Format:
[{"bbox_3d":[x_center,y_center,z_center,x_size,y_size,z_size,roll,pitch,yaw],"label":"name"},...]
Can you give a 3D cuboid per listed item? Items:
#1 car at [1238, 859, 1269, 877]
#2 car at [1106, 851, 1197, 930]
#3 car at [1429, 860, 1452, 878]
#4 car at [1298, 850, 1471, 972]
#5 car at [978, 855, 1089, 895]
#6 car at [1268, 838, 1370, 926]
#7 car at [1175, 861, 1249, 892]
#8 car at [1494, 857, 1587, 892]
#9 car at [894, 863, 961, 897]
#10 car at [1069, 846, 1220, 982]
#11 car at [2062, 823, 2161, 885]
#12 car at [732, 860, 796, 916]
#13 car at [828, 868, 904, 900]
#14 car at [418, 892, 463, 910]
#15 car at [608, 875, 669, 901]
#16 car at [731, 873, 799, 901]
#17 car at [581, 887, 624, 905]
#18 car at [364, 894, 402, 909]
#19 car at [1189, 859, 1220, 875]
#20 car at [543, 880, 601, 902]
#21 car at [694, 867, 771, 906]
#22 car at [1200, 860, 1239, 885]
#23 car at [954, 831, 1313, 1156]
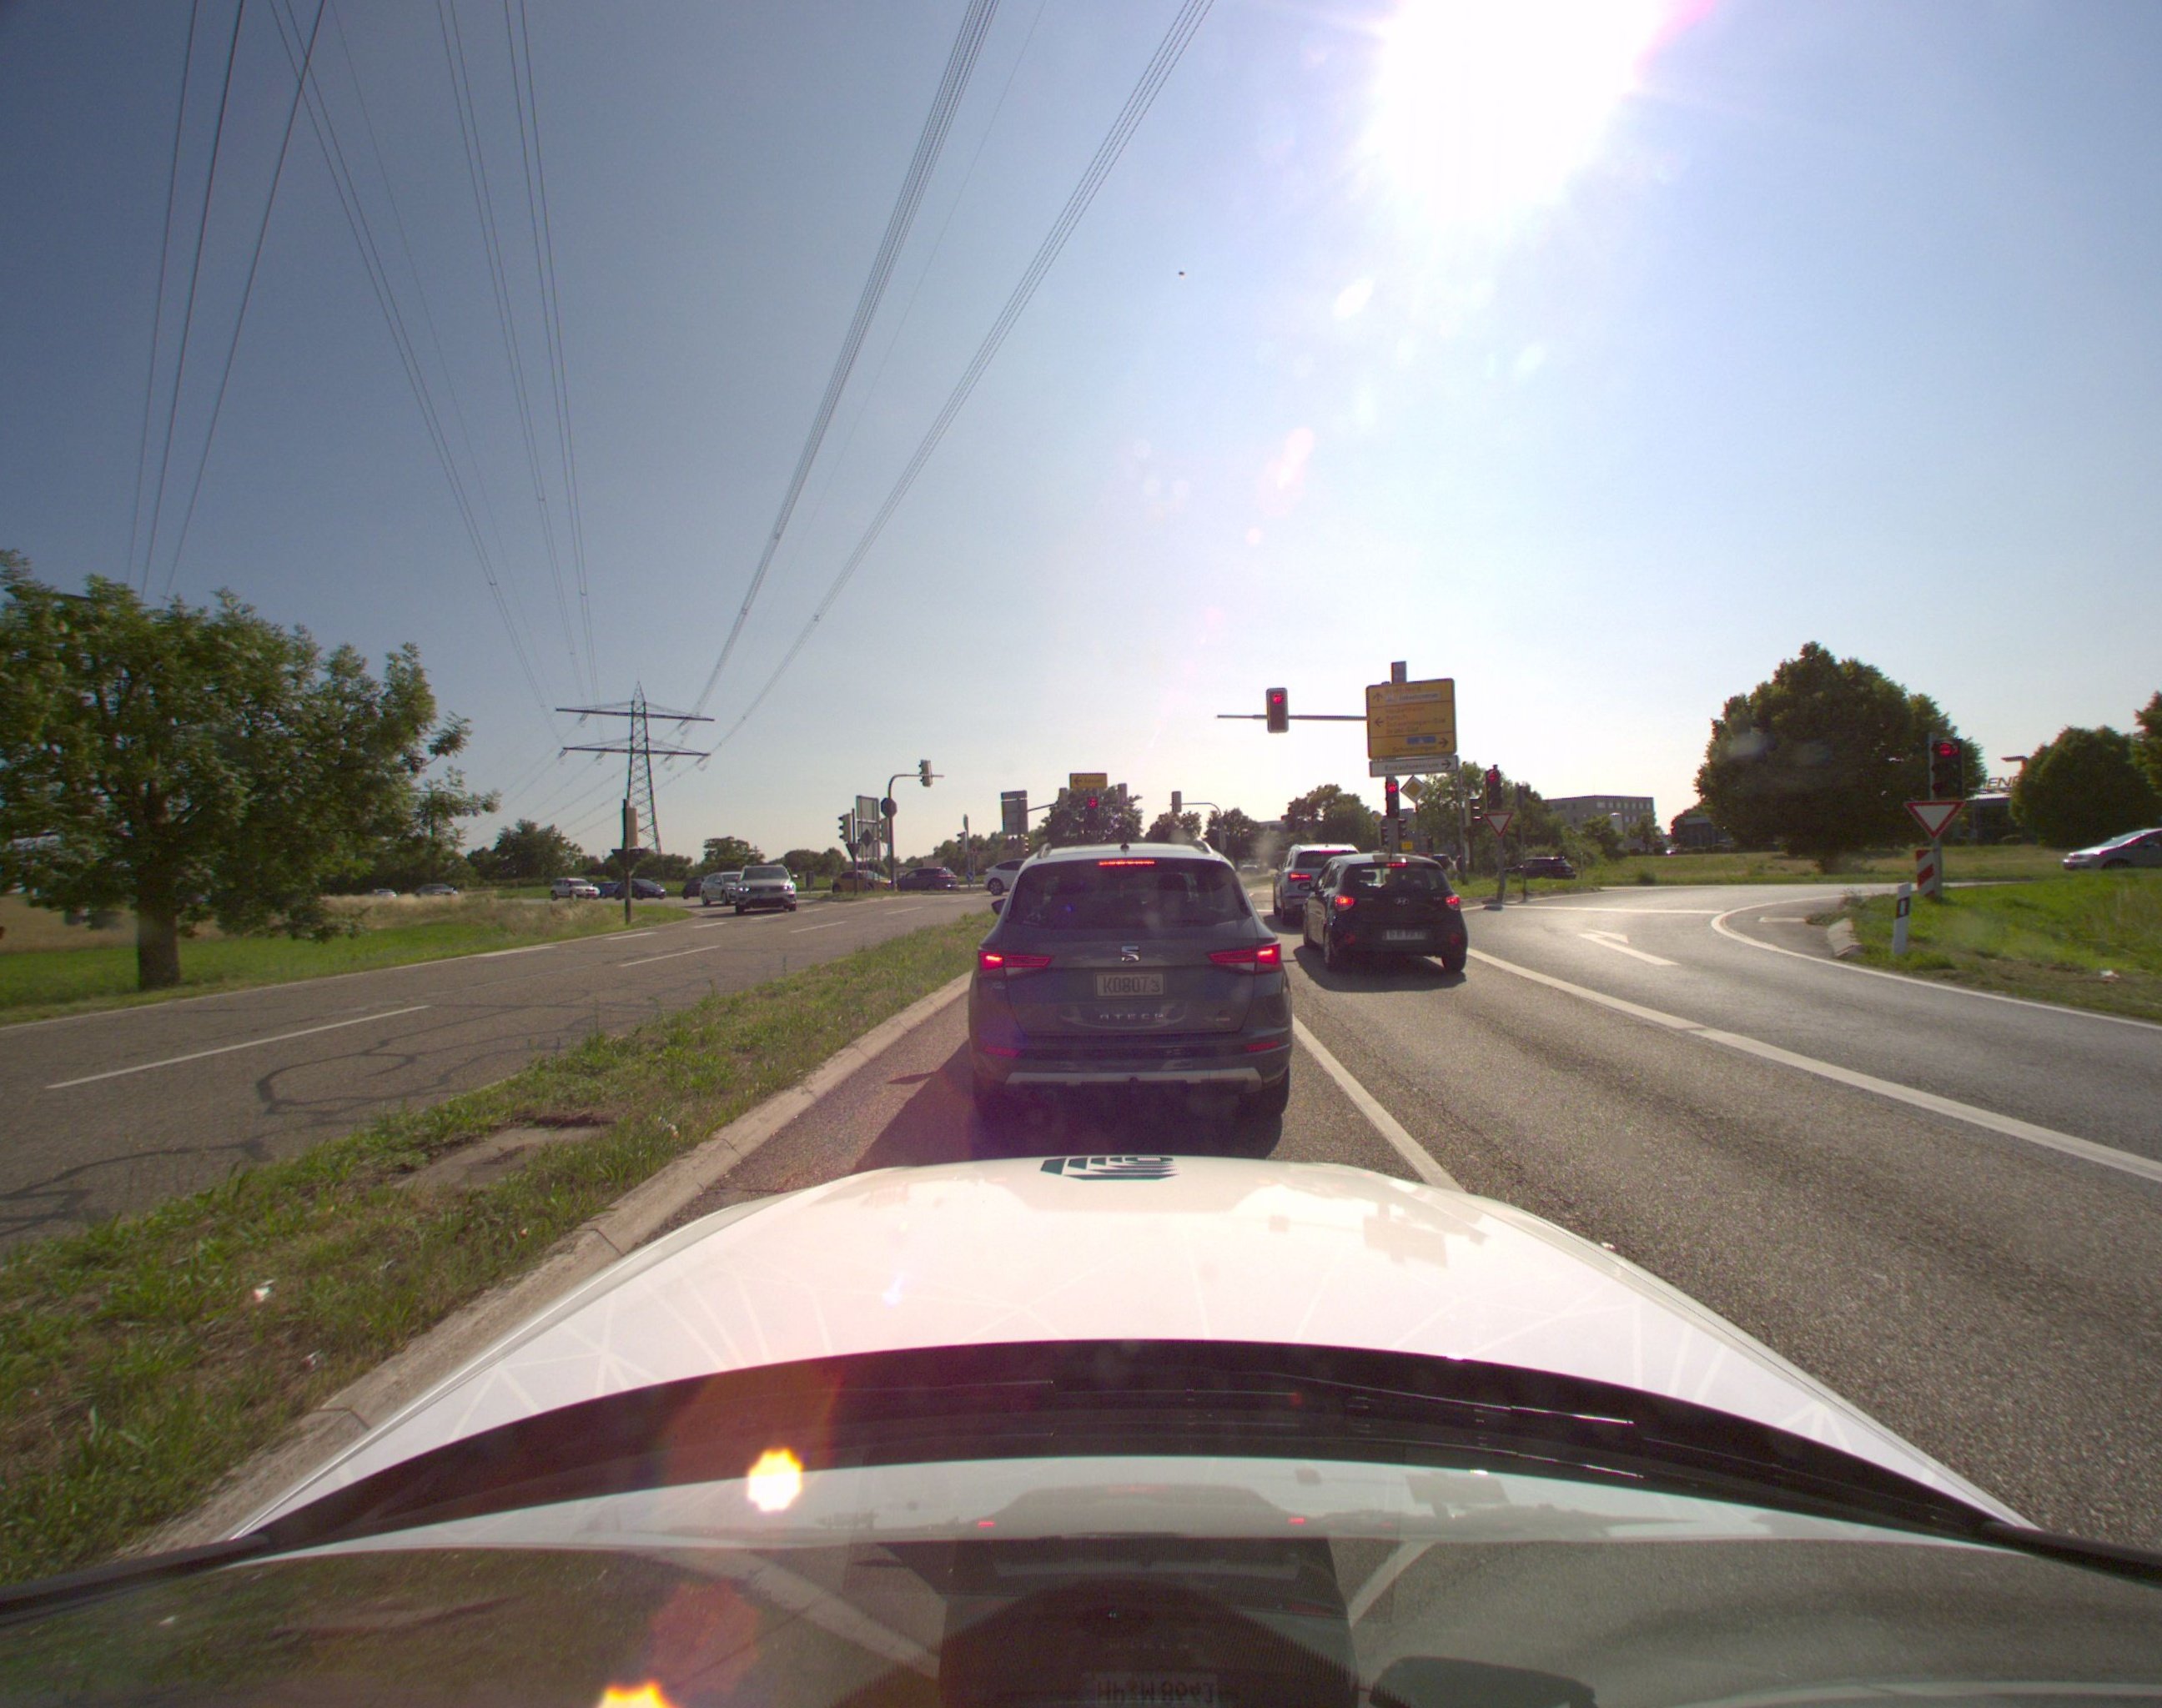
[{"bbox_3d":[17.027,1.378,80.419,1.859,1.673,3.793,0,-1,31],"label":"car"},{"bbox_3d":[1.570,0.714,17.353,1.732,1.484,3.631,0,-1,7],"label":"car"},{"bbox_3d":[35.832,1.465,81.082,1.859,1.673,3.792,0,-1,27],"label":"car"},{"bbox_3d":[4.045,0.683,11.357,1.623,1.448,3.303,-1,0,9],"label":"car"},{"bbox_3d":[-2.156,0.970,36.782,4.700,1.651,1.831,-2,-1,29],"label":"car"},{"bbox_3d":[5.013,0.559,17.569,1.623,1.677,3.758,-1,0,9],"label":"car"},{"bbox_3d":[6.798,1.142,42.264,3.500,1.516,1.471,0,-1,29],"label":"car"},{"bbox_3d":[24.192,1.088,43.019,1.831,1.695,3.849,-1,-1,-28],"label":"car"},{"bbox_3d":[-9.584,1.626,50.760,3.968,1.953,1.707,-2,-1,32],"label":"car"},{"bbox_3d":[0.819,0.707,11.245,1.735,1.569,3.626,0,-1,3],"label":"car"},{"bbox_3d":[34.857,0.009,26.286,3.703,1.953,1.706,0,-1,30],"label":"car"},{"bbox_3d":[-10.532,1.091,27.256,1.820,1.651,3.973,-2,-1,-20],"label":"car"},{"bbox_3d":[-12.127,1.700,45.979,3.949,1.651,1.831,-2,-1,29],"label":"car"},{"bbox_3d":[-56.901,4.148,72.325,3.948,1.486,1.832,0,-1,32],"label":"car"},{"bbox_3d":[-30.738,2.354,56.565,3.949,1.651,1.831,-2,-1,29],"label":"car"},{"bbox_3d":[-19.625,2.056,50.522,3.949,1.651,1.831,-2,-1,29],"label":"car"},{"bbox_3d":[-40.214,3.523,68.489,3.114,1.382,1.683,0,-1,27],"label":"car"},{"bbox_3d":[-76.509,5.201,89.251,3.831,1.519,1.818,-2,-1,27],"label":"car"},{"bbox_3d":[12.067,1.276,79.568,1.701,1.497,3.793,0,-1,31],"label":"car"},{"bbox_3d":[-37.664,2.699,60.263,3.949,1.486,1.831,0,-1,28],"label":"car"},{"bbox_3d":[-15.774,1.456,36.803,3.950,1.651,1.831,-2,-1,45],"label":"car"},{"bbox_3d":[9.913,1.299,57.937,1.860,1.673,3.791,0,-1,24],"label":"car"},{"bbox_3d":[0.310,0.692,5.768,1.735,1.569,3.625,0,-1,2],"label":"car"}]
